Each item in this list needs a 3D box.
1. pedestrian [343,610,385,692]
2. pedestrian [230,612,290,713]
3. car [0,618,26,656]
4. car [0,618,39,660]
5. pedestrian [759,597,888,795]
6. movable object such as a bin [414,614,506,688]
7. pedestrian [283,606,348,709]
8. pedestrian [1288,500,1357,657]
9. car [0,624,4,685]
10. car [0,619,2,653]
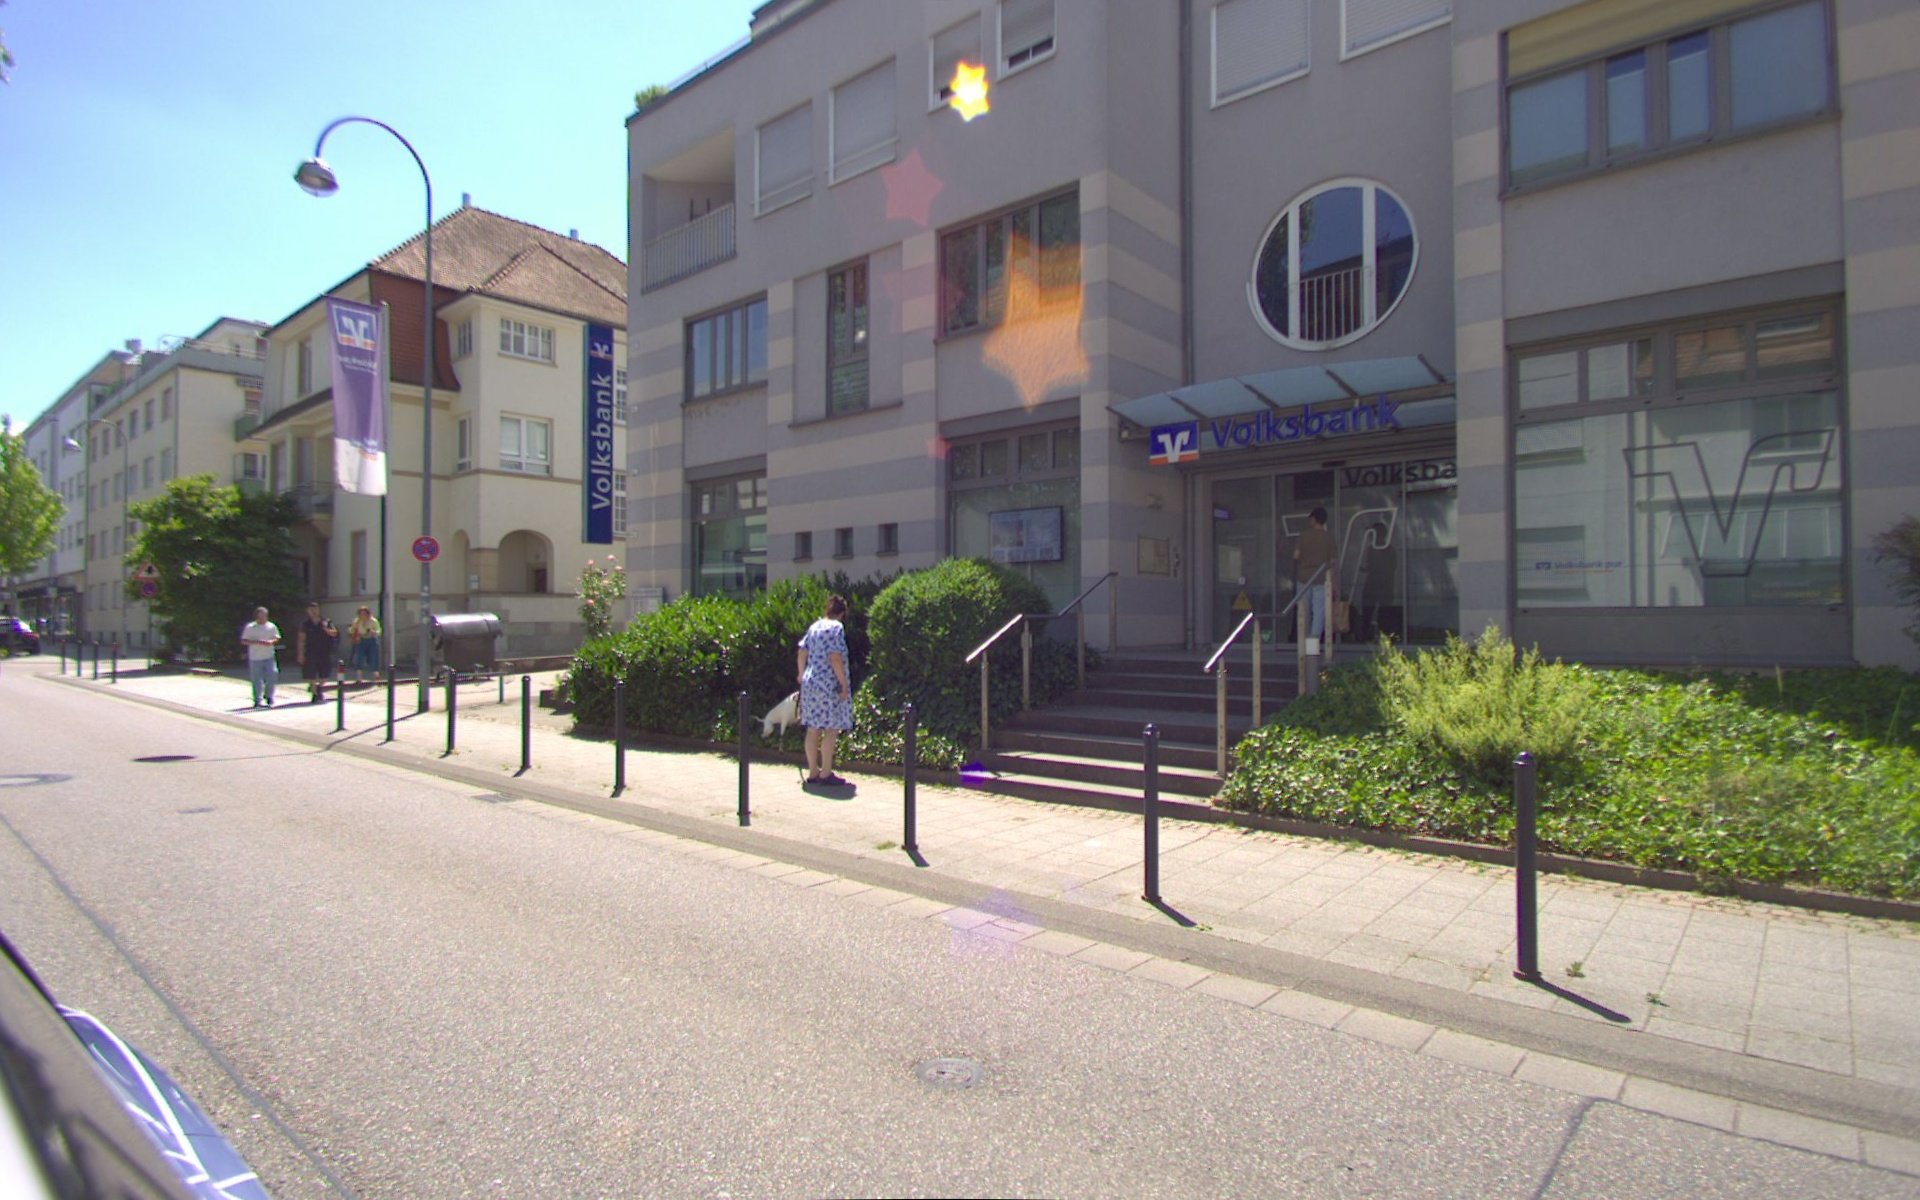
[{"bbox_3d":[-12.506,1.054,21.238,0.734,1.687,0.534,-1,-2,40],"label":"pedestrian"},{"bbox_3d":[-12.141,1.066,17.554,0.903,1.689,0.614,-1,0,40],"label":"pedestrian"},{"bbox_3d":[-44.965,1.708,47.083,4.290,1.683,1.710,-1,-1,40],"label":"car"},{"bbox_3d":[-40.323,1.632,42.683,4.291,1.683,1.709,-1,-1,41],"label":"car"},{"bbox_3d":[-1.224,0.809,9.101,0.751,1.657,0.836,-1,1,43],"label":"pedestrian"},{"bbox_3d":[-10.919,1.088,22.101,1.294,1.499,1.372,-1,1,41],"label":"movable object such as a bin"},{"bbox_3d":[-11.567,1.009,18.162,0.950,1.784,0.740,-1,-2,40],"label":"pedestrian"},{"bbox_3d":[4.150,-0.238,11.613,0.604,1.752,0.580,0,-1,5],"label":"pedestrian"},{"bbox_3d":[-26.048,1.346,25.915,4.260,1.522,1.810,-1,-4,41],"label":"car"},{"bbox_3d":[-49.118,1.780,50.359,4.291,1.683,1.709,-1,-1,41],"label":"car"}]
